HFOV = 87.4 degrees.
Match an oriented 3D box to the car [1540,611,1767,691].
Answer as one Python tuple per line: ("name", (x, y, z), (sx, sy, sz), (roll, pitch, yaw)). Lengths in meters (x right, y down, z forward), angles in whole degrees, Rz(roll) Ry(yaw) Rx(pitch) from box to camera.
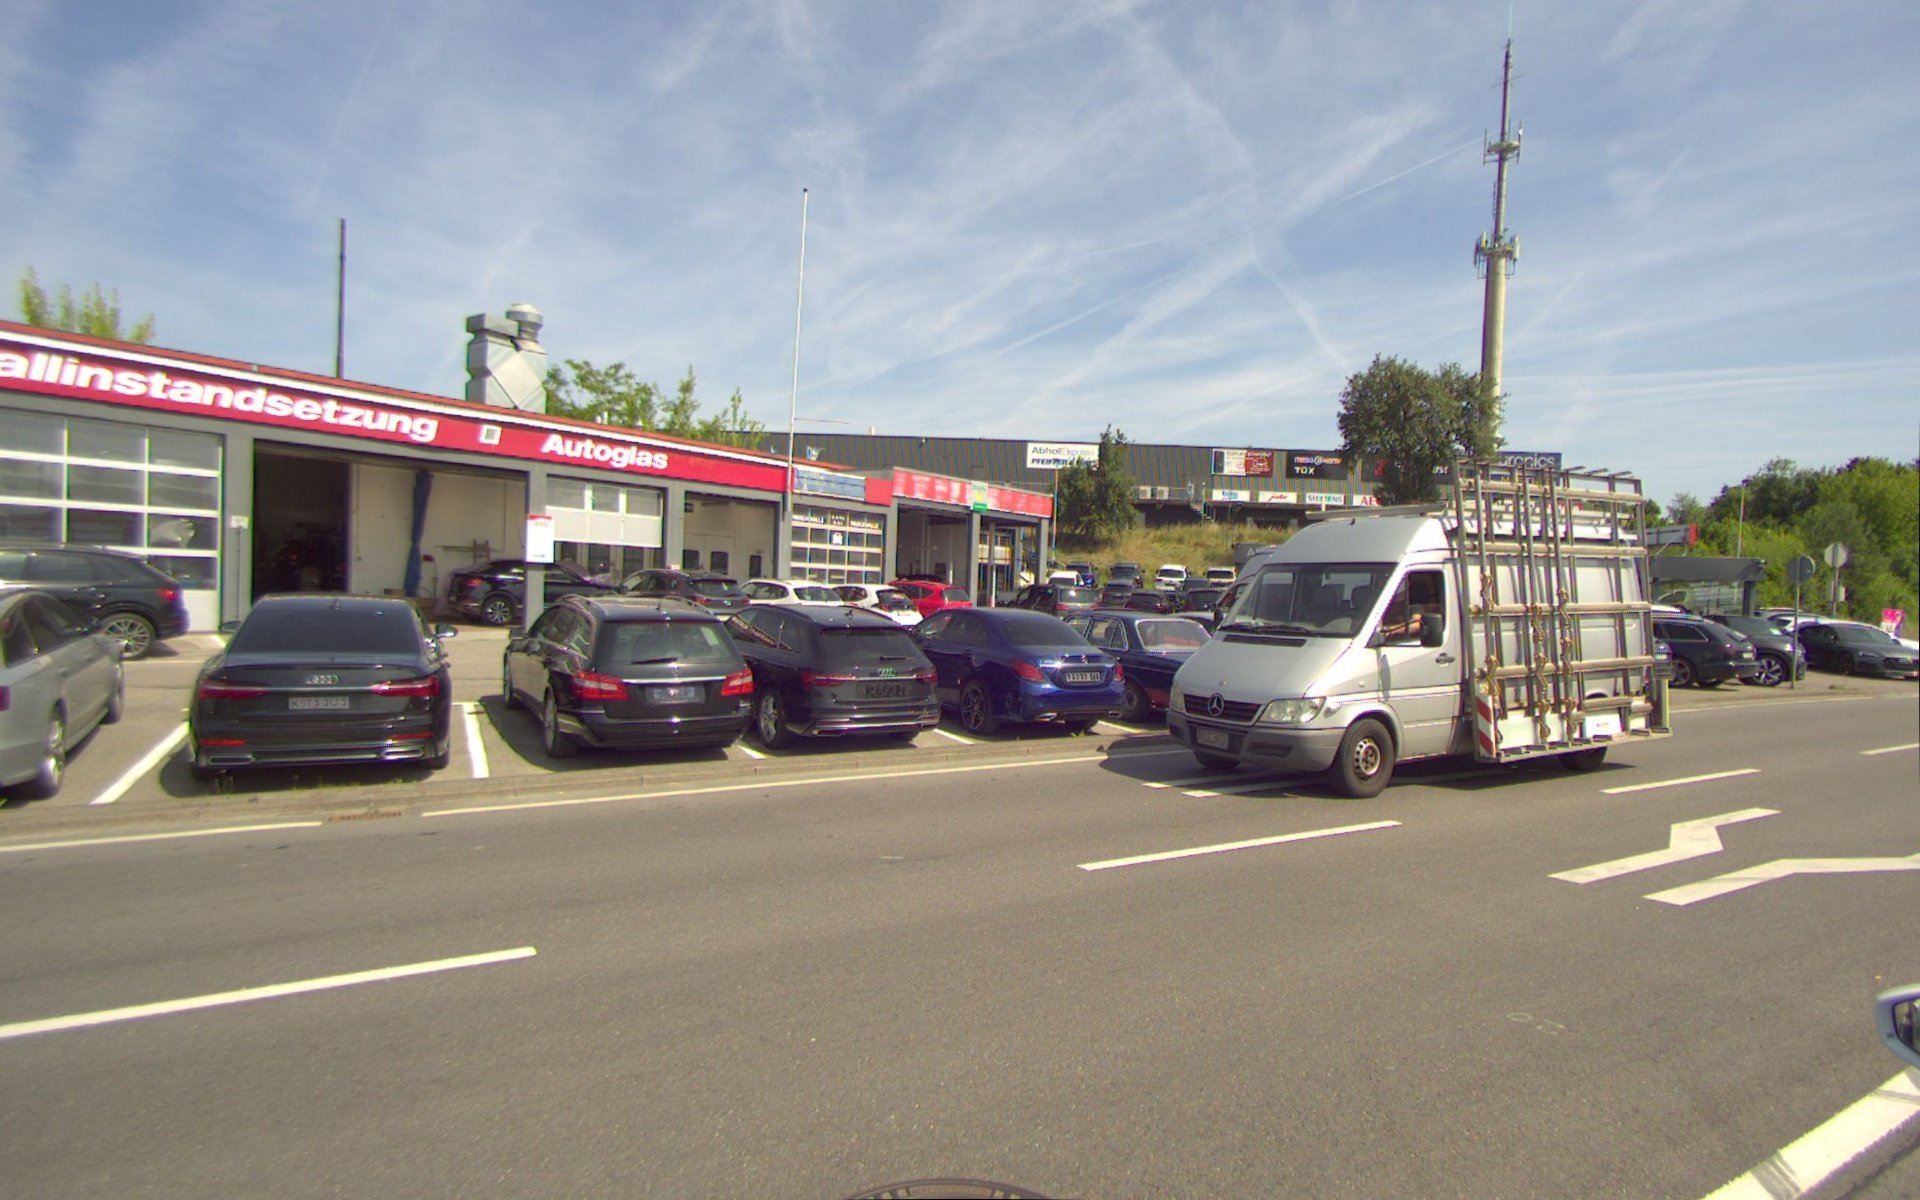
("car", (15.489, 1.082, 22.611), (1.822, 1.560, 3.797), (1, 0, -31))

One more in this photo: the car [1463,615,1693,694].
("car", (13.081, 1.092, 21.470), (1.822, 1.467, 3.797), (1, 0, -31))

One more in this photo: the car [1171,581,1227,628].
("car", (8.788, 0.175, 37.178), (1.733, 1.609, 3.831), (1, 0, 9))

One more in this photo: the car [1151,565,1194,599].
("car", (11.016, -0.910, 51.860), (1.702, 1.558, 3.749), (2, 0, 18))

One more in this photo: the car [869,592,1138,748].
("car", (0.402, 0.747, 12.957), (1.688, 1.577, 3.687), (0, 3, -32))

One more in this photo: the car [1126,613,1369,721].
("car", (4.518, 0.984, 16.257), (1.790, 1.500, 3.578), (1, -1, -29))

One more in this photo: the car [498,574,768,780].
("car", (-3.730, 0.622, 10.869), (1.752, 1.505, 4.433), (1, 4, -32))

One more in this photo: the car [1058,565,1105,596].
("car", (6.474, -1.027, 53.072), (1.702, 1.470, 3.749), (2, 0, 18))

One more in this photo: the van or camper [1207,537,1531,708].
("van or camper", (7.901, 0.345, 20.185), (2.263, 2.912, 5.863), (1, 1, -30))

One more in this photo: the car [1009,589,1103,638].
("car", (3.342, 0.455, 35.560), (1.744, 1.609, 3.808), (1, 0, -22))

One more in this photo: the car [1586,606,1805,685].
("car", (17.405, 1.018, 23.940), (1.822, 1.697, 3.797), (1, 0, -31))

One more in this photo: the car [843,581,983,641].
("car", (-1.374, 0.290, 28.849), (3.767, 1.609, 1.762), (1, 0, 37))

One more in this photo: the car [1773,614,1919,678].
("car", (26.698, 1.307, 29.983), (2.089, 1.716, 4.530), (1, 0, 15))

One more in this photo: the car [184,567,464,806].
("car", (-5.841, 0.586, 9.495), (1.777, 1.505, 4.277), (1, 4, -30))

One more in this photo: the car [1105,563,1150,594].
("car", (8.757, -1.089, 52.283), (1.702, 1.470, 3.749), (2, 0, 18))

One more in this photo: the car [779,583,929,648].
("car", (-2.848, 0.373, 26.714), (3.767, 1.609, 1.762), (1, 0, 37))

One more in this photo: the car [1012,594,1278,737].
("car", (2.519, 0.826, 14.499), (1.689, 1.505, 3.686), (1, 4, -32))

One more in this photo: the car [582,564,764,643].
("car", (-6.215, 0.055, 21.591), (3.887, 1.553, 1.762), (1, 0, 37))

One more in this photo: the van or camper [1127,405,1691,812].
("van or camper", (4.655, 0.130, 10.077), (5.833, 3.096, 2.197), (1, -1, -30))

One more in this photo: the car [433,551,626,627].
("car", (-10.559, -0.225, 24.775), (3.986, 1.694, 1.888), (2, 0, -43))

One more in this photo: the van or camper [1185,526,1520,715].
("van or camper", (6.559, 0.280, 17.539), (2.184, 2.768, 5.222), (1, 0, -29))

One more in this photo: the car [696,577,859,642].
("car", (-4.446, 0.199, 24.281), (3.767, 1.451, 1.762), (1, 0, 37))

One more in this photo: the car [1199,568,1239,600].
("car", (13.200, -0.784, 51.112), (1.702, 1.470, 3.749), (2, 0, 18))

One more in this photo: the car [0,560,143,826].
("car", (-7.968, 0.543, 7.912), (1.816, 1.505, 4.252), (1, 4, -32))

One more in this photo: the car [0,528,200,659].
("car", (-13.763, -0.127, 14.421), (1.797, 1.696, 4.115), (8, 3, 34))

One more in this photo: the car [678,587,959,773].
("car", (-1.797, 0.760, 11.592), (1.782, 1.505, 3.822), (1, 4, -32))
